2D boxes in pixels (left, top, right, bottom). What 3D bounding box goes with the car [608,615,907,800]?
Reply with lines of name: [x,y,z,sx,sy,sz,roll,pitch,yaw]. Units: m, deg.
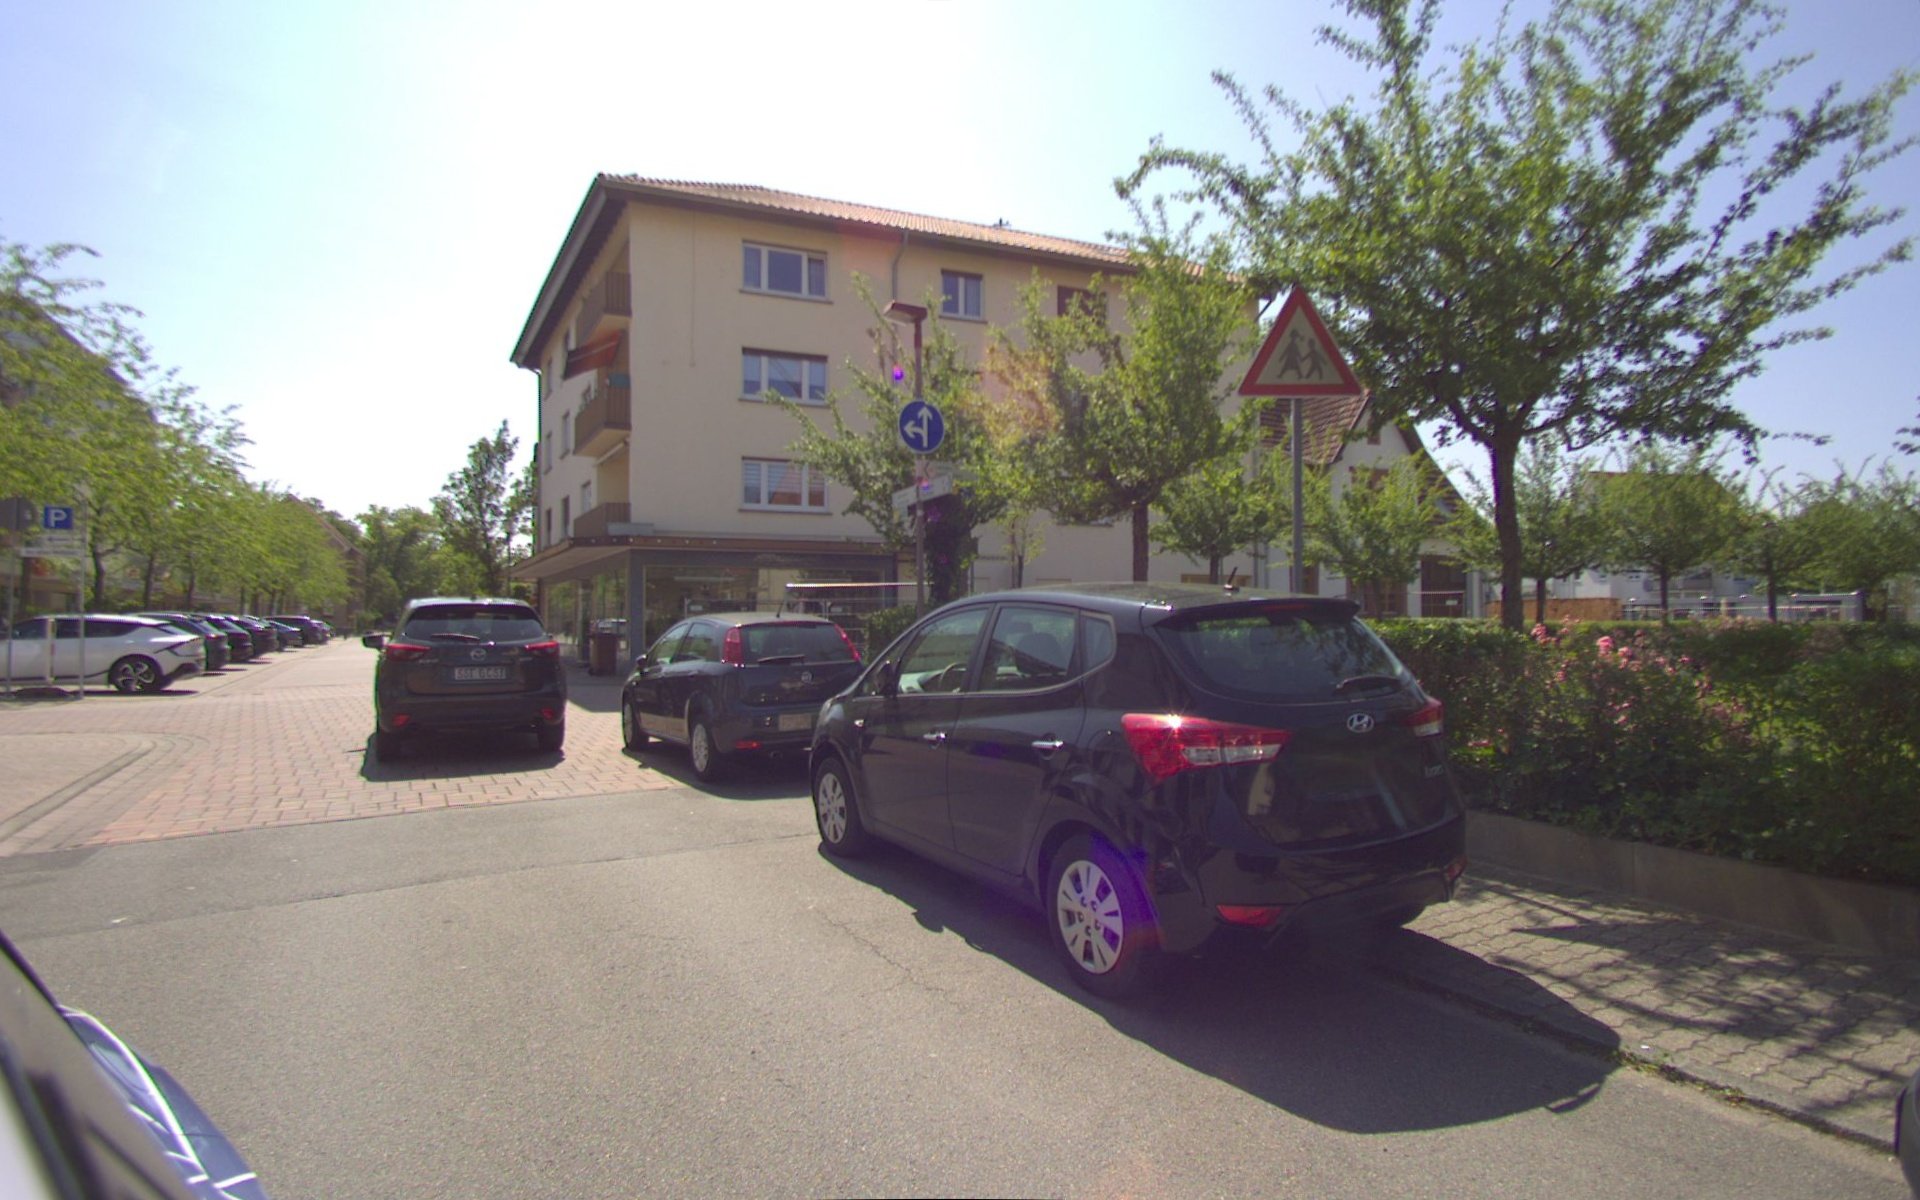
car: [-2.236,0.958,10.326,1.679,1.508,3.867,1,-3,-33]

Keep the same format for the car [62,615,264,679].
car: [-22.415,1.353,28.716,4.219,1.694,2.006,3,-3,-31]

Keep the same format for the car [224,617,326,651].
car: [-35.425,1.774,52.487,4.184,1.630,1.762,3,-4,-30]

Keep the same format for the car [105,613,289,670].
car: [-24.942,1.389,33.310,4.444,1.600,1.856,4,-4,-26]

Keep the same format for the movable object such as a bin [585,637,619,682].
movable object such as a bin: [-8.823,1.454,24.954,0.646,1.078,0.665,1,-2,-35]

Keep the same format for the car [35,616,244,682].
car: [-21.106,1.302,26.257,3.889,1.545,1.829,4,-4,-30]

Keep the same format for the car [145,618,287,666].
car: [-27.378,1.557,37.400,3.970,1.624,1.686,3,-3,-30]

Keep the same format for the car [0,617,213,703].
car: [-17.462,1.172,19.718,4.378,1.588,1.794,3,-4,-28]

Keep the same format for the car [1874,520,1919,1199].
car: [3.143,0.634,0.393,1.615,1.641,3.779,1,-3,-30]

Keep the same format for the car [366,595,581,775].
car: [-5.787,0.885,11.755,1.855,1.681,4.165,1,-3,-31]

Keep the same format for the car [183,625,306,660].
car: [-33.036,1.983,46.800,1.890,1.474,4.325,-2,-4,42]

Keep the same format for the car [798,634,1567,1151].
car: [0.666,1.006,5.405,1.790,1.617,4.037,1,-3,-28]
